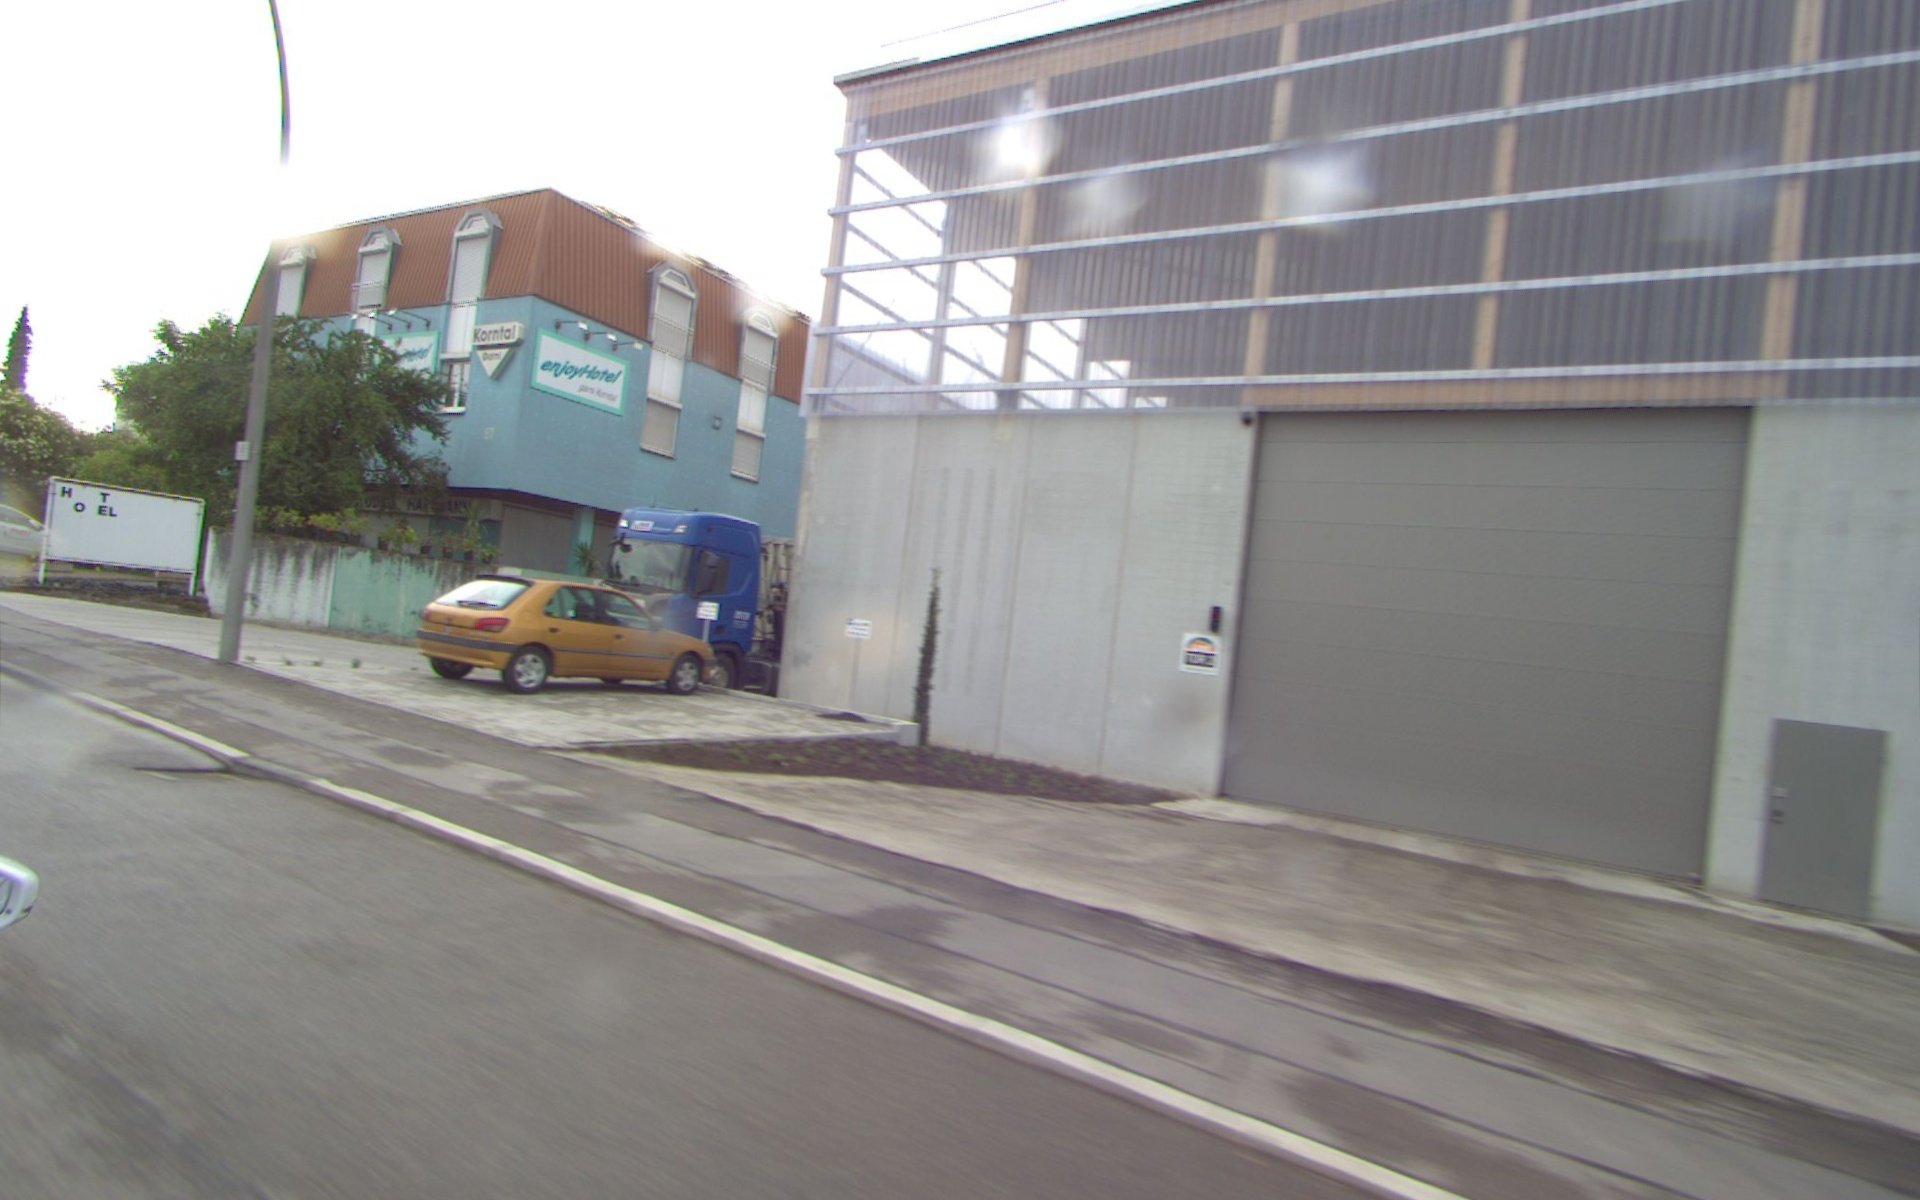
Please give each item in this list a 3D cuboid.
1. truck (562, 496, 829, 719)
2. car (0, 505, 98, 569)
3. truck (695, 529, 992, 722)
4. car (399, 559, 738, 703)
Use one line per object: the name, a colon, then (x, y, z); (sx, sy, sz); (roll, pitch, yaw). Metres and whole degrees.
truck: (-5.215, 0.266, 20.503); (2.673, 3.710, 4.162); (6, -5, 28)
car: (-26.354, -1.916, 26.991); (1.848, 1.408, 4.428); (6, -4, 30)
truck: (-2.491, 0.937, 25.555); (2.676, 3.746, 8.564); (6, -4, 29)
car: (-5.005, 0.516, 13.456); (1.603, 1.446, 3.998); (7, -3, 29)
